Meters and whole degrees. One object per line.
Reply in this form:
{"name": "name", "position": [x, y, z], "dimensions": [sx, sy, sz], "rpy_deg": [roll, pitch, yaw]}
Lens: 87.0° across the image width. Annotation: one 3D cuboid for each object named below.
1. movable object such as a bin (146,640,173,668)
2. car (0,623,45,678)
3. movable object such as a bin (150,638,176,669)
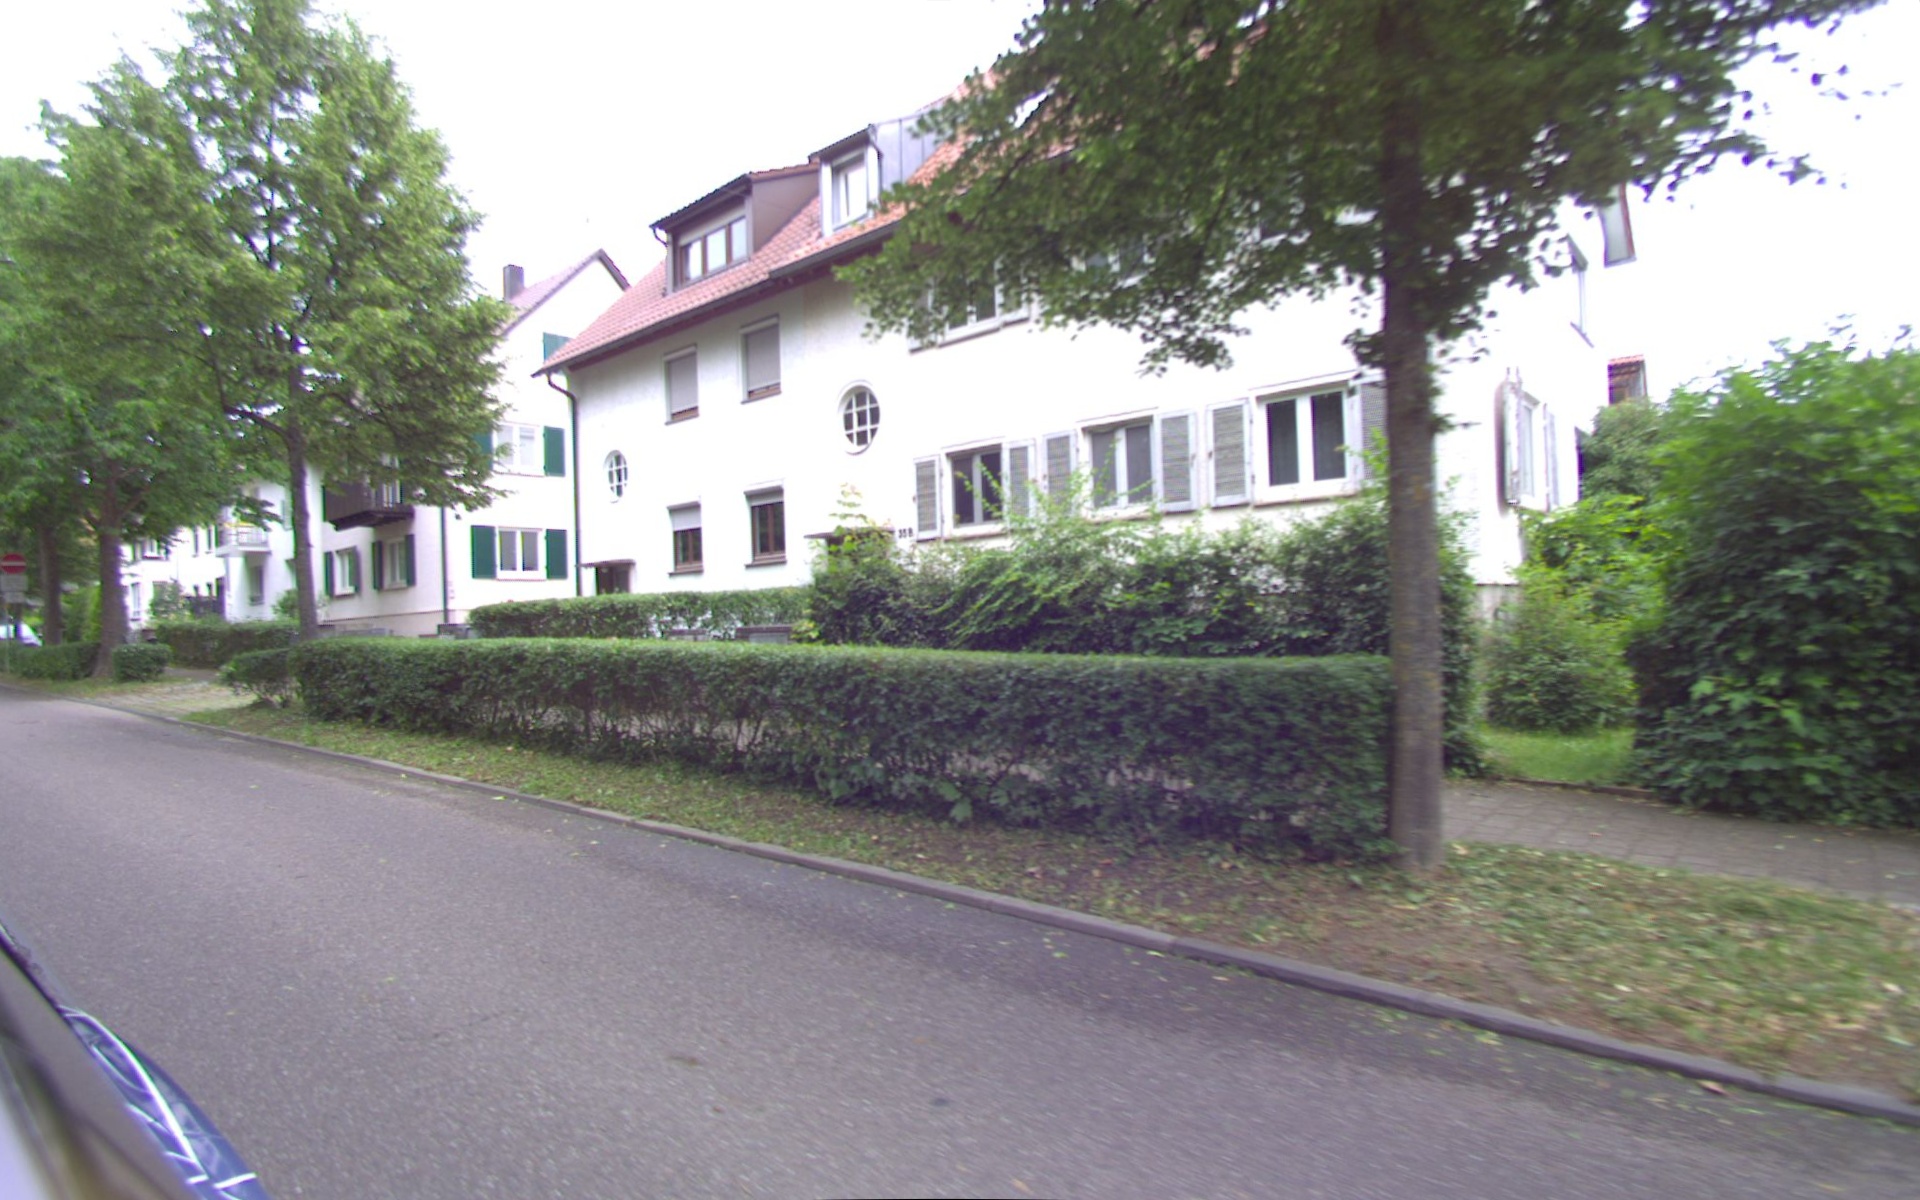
{"name": "movable object such as a bin", "position": [-27.941, 1.884, 35.326], "dimensions": [0.639, 0.947, 0.555], "rpy_deg": [-2, -2, 34]}
{"name": "car", "position": [-32.935, 1.728, 34.455], "dimensions": [4.445, 1.767, 1.808], "rpy_deg": [-2, -1, 37]}
{"name": "movable object such as a bin", "position": [-27.477, 1.831, 34.885], "dimensions": [0.600, 1.033, 0.555], "rpy_deg": [-2, -2, 34]}
